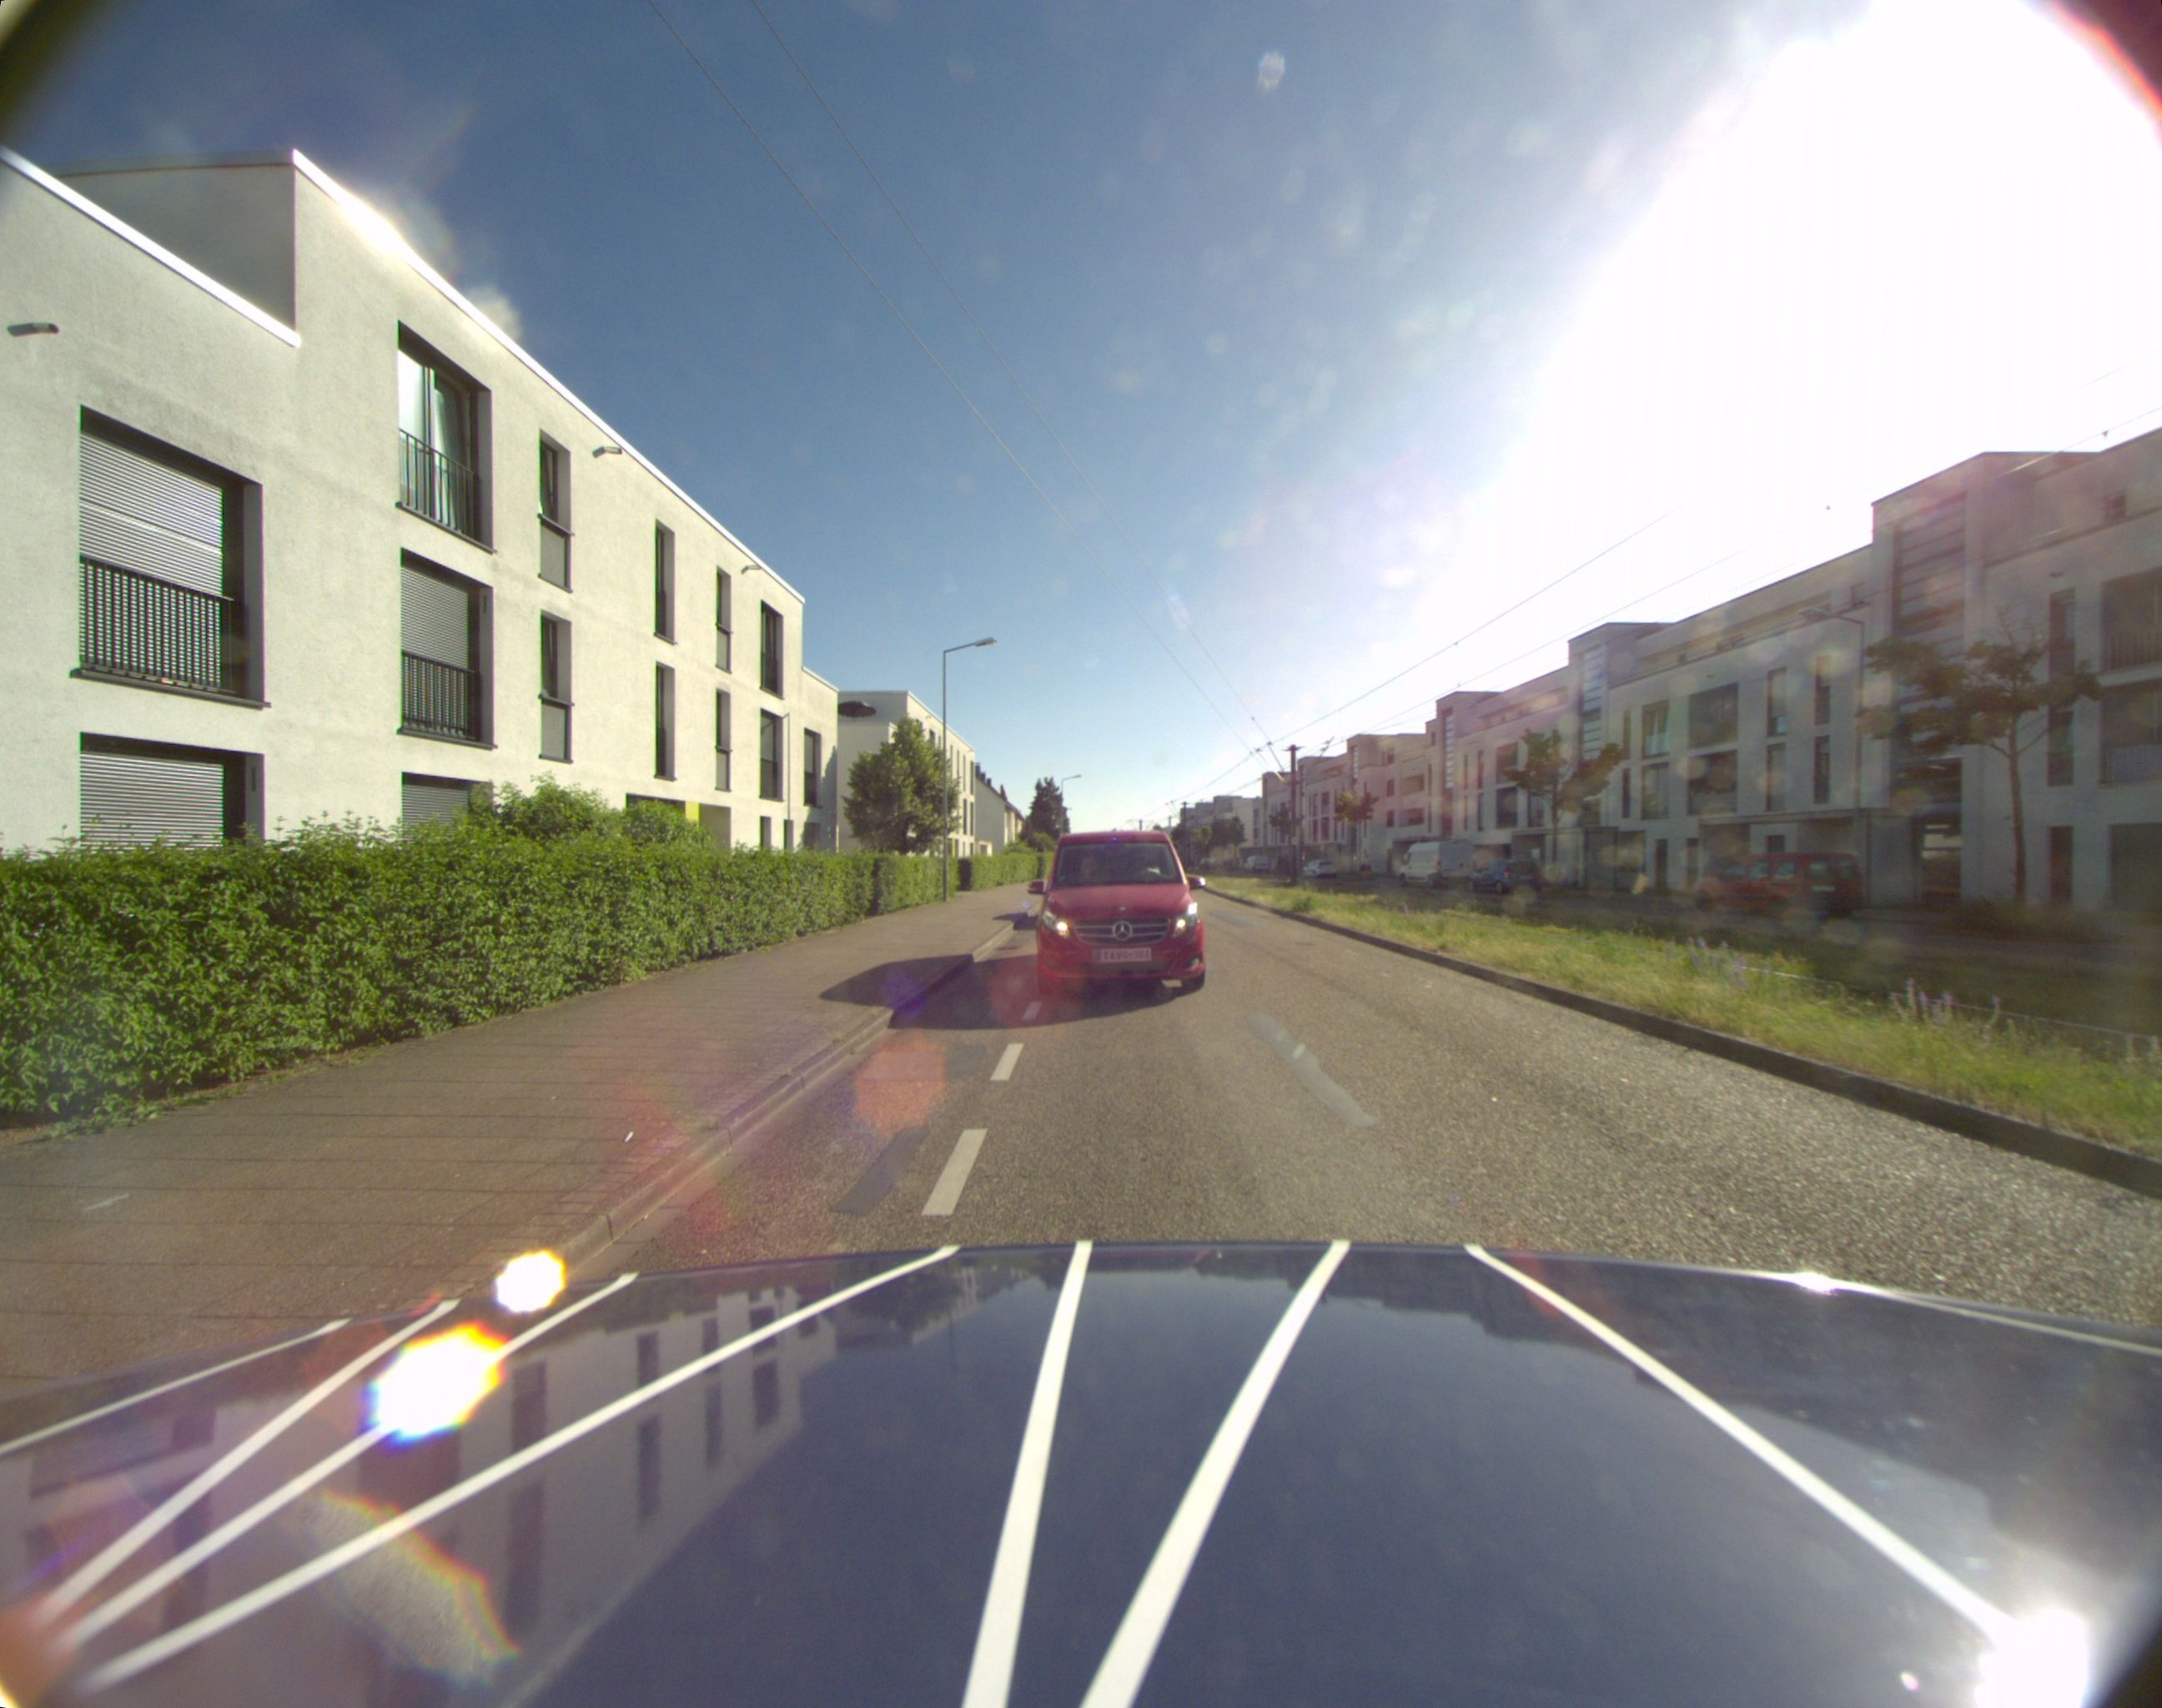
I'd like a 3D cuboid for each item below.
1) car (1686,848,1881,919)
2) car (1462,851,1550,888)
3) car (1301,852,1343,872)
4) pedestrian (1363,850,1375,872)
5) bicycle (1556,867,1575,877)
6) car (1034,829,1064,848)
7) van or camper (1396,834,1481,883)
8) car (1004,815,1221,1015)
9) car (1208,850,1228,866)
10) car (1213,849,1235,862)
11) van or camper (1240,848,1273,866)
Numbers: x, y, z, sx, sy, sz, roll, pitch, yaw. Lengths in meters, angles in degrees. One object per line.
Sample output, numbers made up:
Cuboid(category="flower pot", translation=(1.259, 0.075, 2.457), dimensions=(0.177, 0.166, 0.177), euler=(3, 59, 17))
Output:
Cuboid(category="car", translation=(19.025, 0.713, 20.860), dimensions=(1.793, 1.713, 3.908), euler=(1, 1, 3))
Cuboid(category="car", translation=(19.227, 0.656, 34.582), dimensions=(1.934, 1.604, 3.836), euler=(0, 0, 1))
Cuboid(category="car", translation=(19.550, 0.631, 61.919), dimensions=(2.046, 1.577, 4.120), euler=(0, 0, -1))
Cuboid(category="pedestrian", translation=(21.959, 0.536, 57.936), dimensions=(0.619, 1.634, 0.612), euler=(-2, 1, -5))
Cuboid(category="bicycle", translation=(25.947, 0.945, 40.687), dimensions=(0.354, 0.495, 1.061), euler=(0, 0, 1))
Cuboid(category="car", translation=(-4.090, -1.965, 97.276), dimensions=(3.182, 2.333, 6.176), euler=(-2, 0, 3))
Cuboid(category="van or camper", translation=(19.310, 0.212, 41.334), dimensions=(2.197, 2.450, 5.260), euler=(0, 0, 1))
Cuboid(category="car", translation=(0.423, 0.623, 10.203), dimensions=(2.127, 1.958, 5.084), euler=(-2, 0, 2))
Cuboid(category="car", translation=(18.400, 0.480, 102.117), dimensions=(1.787, 2.002, 3.999), euler=(-2, 0, -2))
Cuboid(category="car", translation=(17.871, 0.160, 94.992), dimensions=(1.867, 1.430, 3.496), euler=(-2, 1, -2))
Cuboid(category="van or camper", translation=(19.214, 0.283, 83.429), dimensions=(2.272, 1.838, 6.285), euler=(-1, 0, 1))
